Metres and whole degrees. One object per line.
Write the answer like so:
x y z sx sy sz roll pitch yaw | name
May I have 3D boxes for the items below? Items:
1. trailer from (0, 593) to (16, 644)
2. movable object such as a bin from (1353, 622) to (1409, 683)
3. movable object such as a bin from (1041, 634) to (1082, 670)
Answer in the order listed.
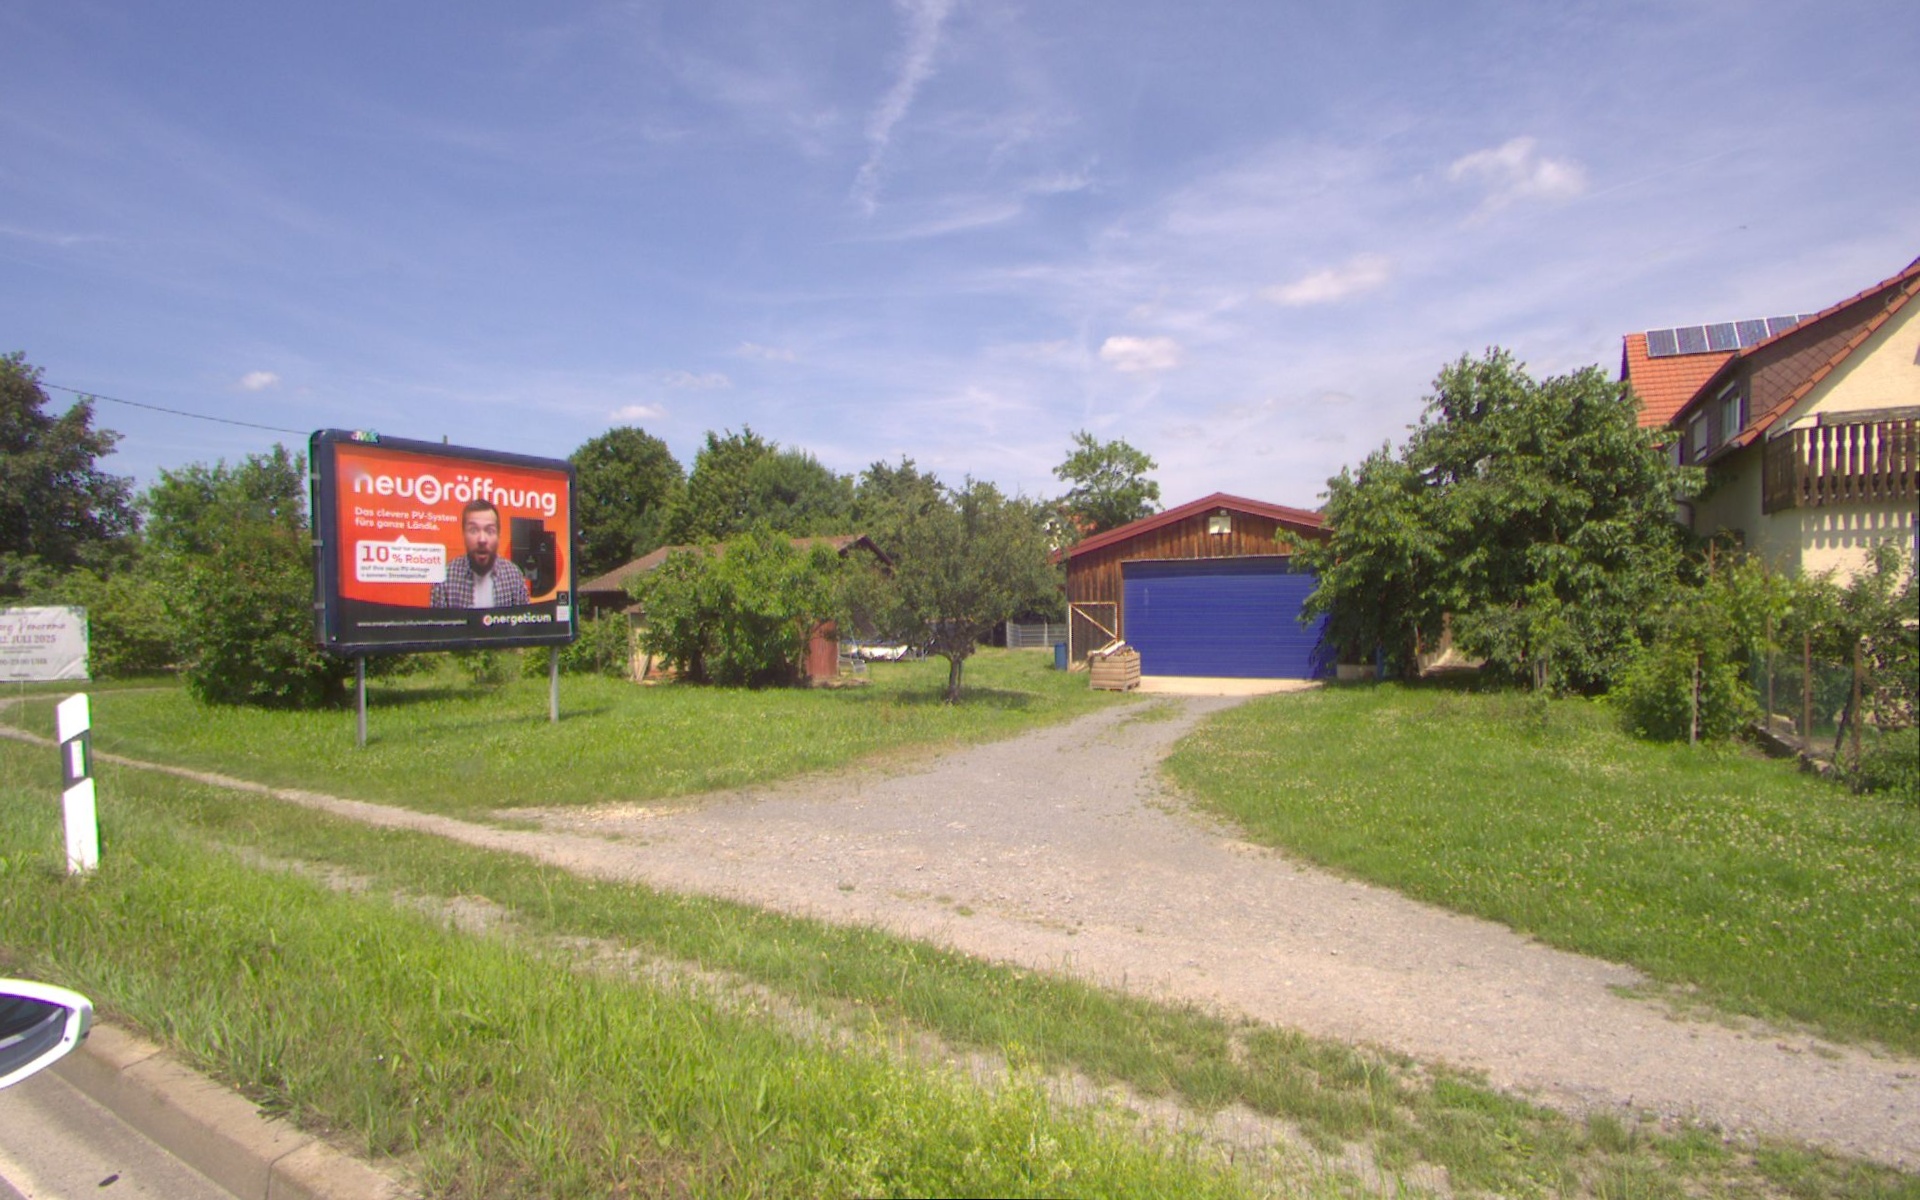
-91.121 1.690 91.414 5.132 4.688 15.783 1 -1 -36 | trailer
10.227 1.257 24.308 1.049 1.415 1.271 0 -1 33 | movable object such as a bin
3.090 1.577 30.438 1.044 1.046 1.040 0 -1 17 | movable object such as a bin
